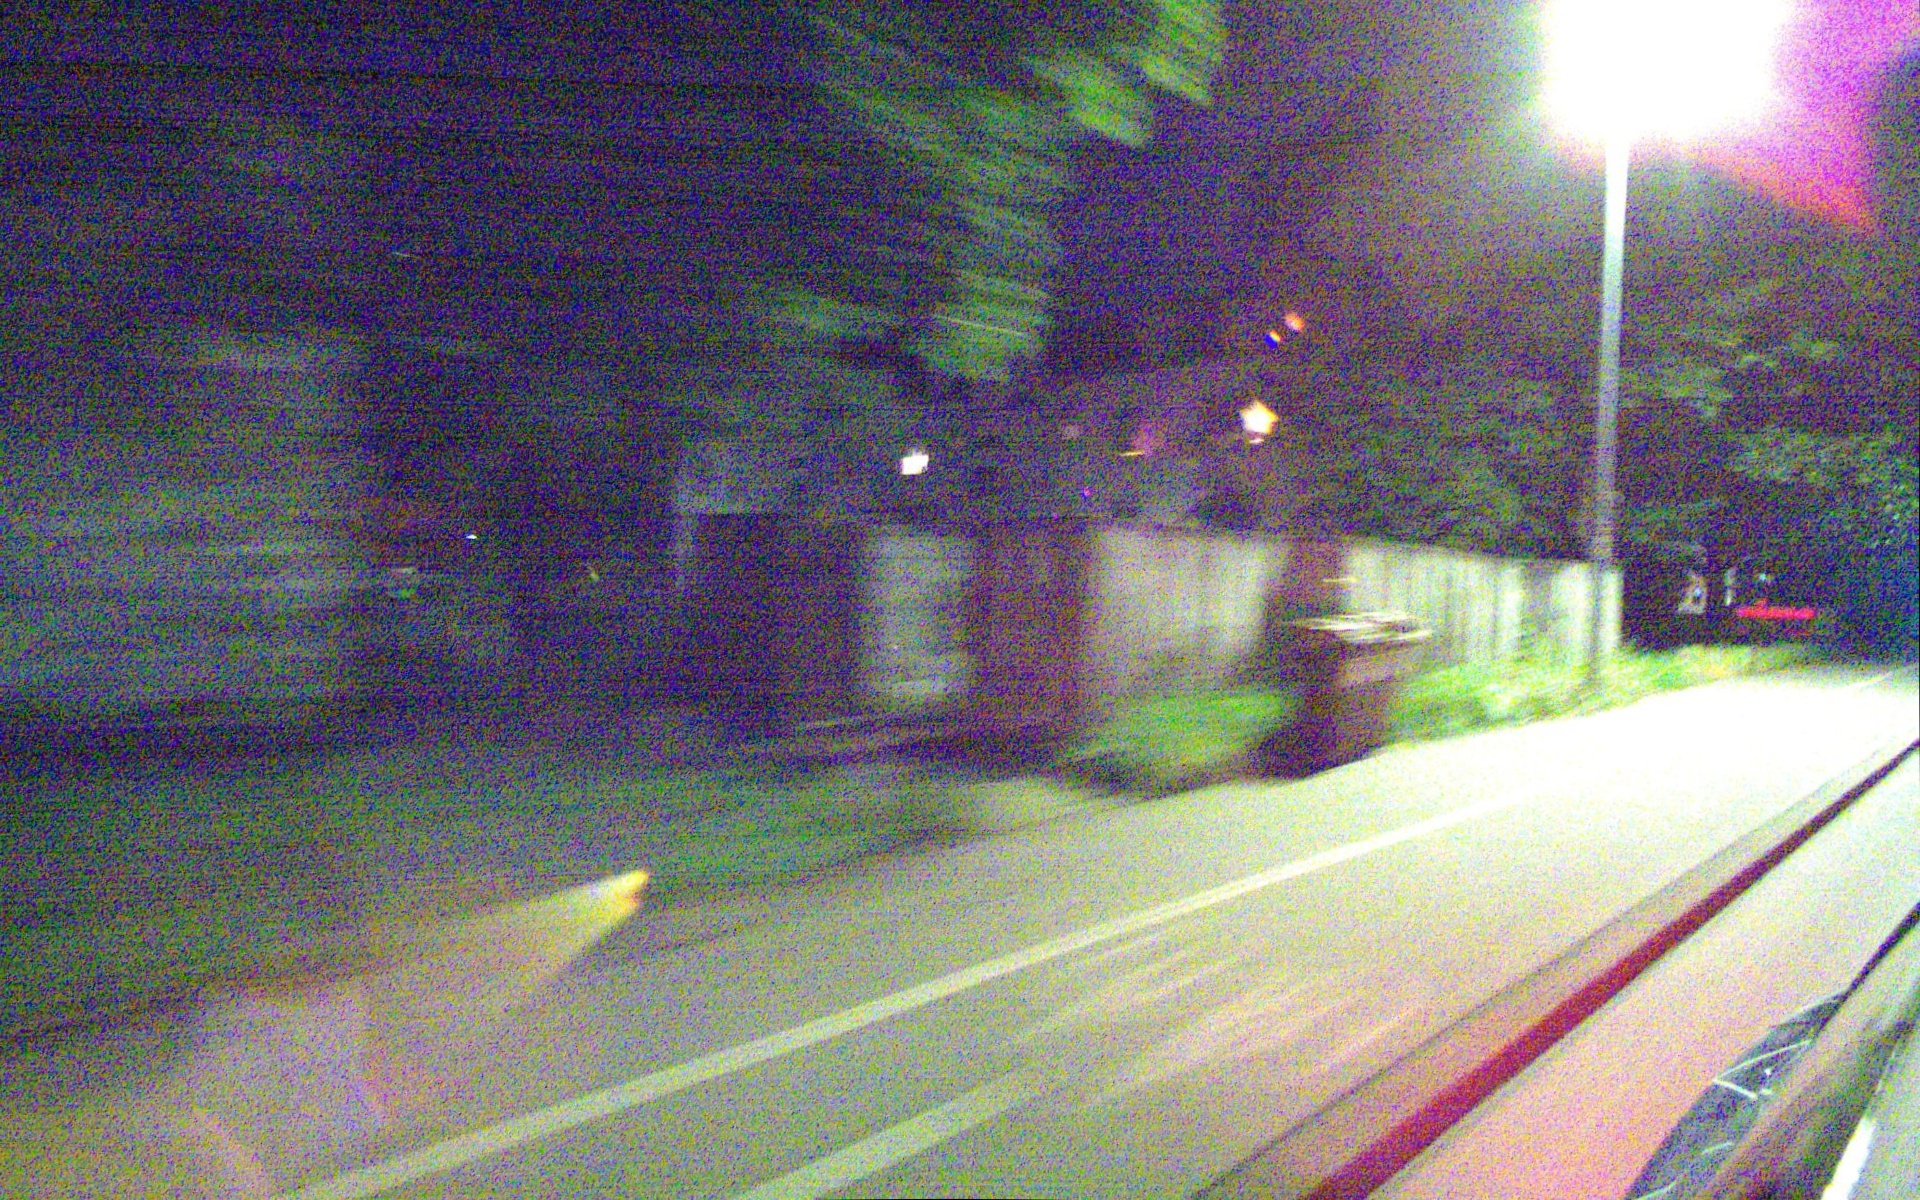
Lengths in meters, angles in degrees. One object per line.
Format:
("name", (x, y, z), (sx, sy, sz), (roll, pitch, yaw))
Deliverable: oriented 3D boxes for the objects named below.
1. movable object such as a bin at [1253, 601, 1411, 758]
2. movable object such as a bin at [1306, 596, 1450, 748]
("movable object such as a bin", (2.955, 0.589, 8.052), (0.825, 1.133, 0.859), (1, 1, -38))
("movable object such as a bin", (3.571, 0.577, 8.657), (0.813, 1.196, 0.835), (1, 1, -38))
